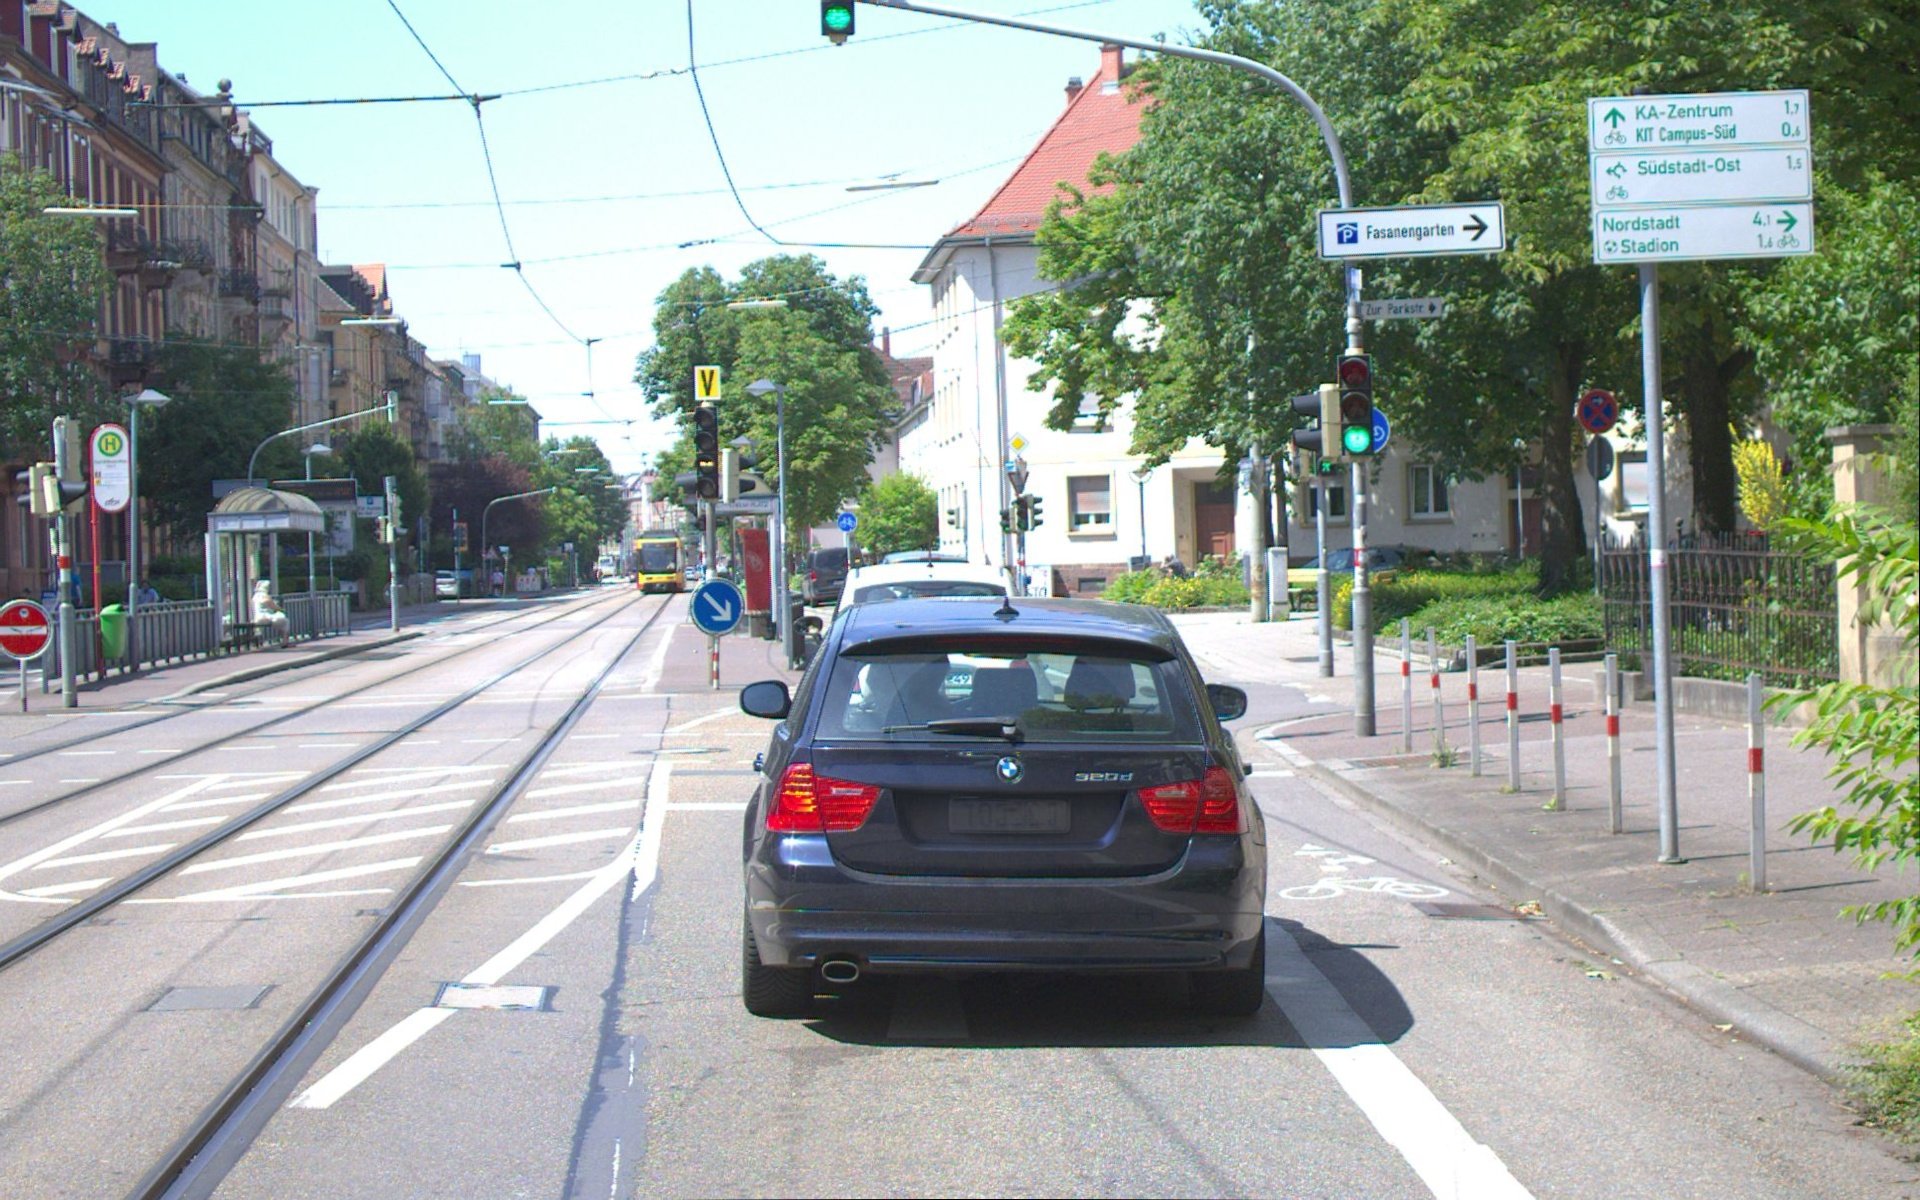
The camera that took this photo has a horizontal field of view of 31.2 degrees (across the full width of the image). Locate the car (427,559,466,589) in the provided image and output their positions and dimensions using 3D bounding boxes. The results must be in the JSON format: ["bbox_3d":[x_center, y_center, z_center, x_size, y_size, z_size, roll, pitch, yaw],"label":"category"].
[{"bbox_3d":[-27.871,-1.391,186.525,1.787,1.580,4.001,0,0,-13],"label":"car"}]

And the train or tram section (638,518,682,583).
[{"bbox_3d":[-16.583,-2.745,190.361,2.190,3.470,8.847,-2,1,-4],"label":"train or tram section"}]

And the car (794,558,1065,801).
[{"bbox_3d":[-0.200,0.485,23.790,1.685,1.479,3.685,-2,1,0],"label":"car"}]

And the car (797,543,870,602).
[{"bbox_3d":[-4.179,-0.912,113.158,1.993,1.842,4.001,-2,1,-8],"label":"car"}]

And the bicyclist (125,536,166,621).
[{"bbox_3d":[-18.123,-0.488,76.495,0.722,1.864,0.825,-2,1,-4],"label":"bicyclist"}]

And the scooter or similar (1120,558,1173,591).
[{"bbox_3d":[4.989,-0.689,92.078,1.311,0.834,0.527,-2,1,-9],"label":"scooter or similar"}]

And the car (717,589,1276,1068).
[{"bbox_3d":[0.151,0.701,12.945,1.722,1.404,4.565,1,1,1],"label":"car"}]

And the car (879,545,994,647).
[{"bbox_3d":[-0.404,-0.088,54.270,1.691,1.508,3.821,-1,1,-2],"label":"car"}]

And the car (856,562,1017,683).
[{"bbox_3d":[-0.326,0.236,40.861,1.691,1.318,3.822,-2,1,-3],"label":"car"}]

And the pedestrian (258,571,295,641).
[{"bbox_3d":[-12.444,0.108,62.611,0.613,1.238,0.628,-2,1,-10],"label":"pedestrian"}]

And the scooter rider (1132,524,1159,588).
[{"bbox_3d":[4.967,-1.183,92.060,0.590,1.681,0.528,-2,1,-9],"label":"scooter rider"}]

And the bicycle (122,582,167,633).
[{"bbox_3d":[-18.157,0.155,76.587,0.728,1.098,1.716,-2,1,-6],"label":"bicycle"}]

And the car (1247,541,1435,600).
[{"bbox_3d":[8.851,-0.687,79.966,3.994,1.239,1.621,-1,1,31],"label":"car"}]
